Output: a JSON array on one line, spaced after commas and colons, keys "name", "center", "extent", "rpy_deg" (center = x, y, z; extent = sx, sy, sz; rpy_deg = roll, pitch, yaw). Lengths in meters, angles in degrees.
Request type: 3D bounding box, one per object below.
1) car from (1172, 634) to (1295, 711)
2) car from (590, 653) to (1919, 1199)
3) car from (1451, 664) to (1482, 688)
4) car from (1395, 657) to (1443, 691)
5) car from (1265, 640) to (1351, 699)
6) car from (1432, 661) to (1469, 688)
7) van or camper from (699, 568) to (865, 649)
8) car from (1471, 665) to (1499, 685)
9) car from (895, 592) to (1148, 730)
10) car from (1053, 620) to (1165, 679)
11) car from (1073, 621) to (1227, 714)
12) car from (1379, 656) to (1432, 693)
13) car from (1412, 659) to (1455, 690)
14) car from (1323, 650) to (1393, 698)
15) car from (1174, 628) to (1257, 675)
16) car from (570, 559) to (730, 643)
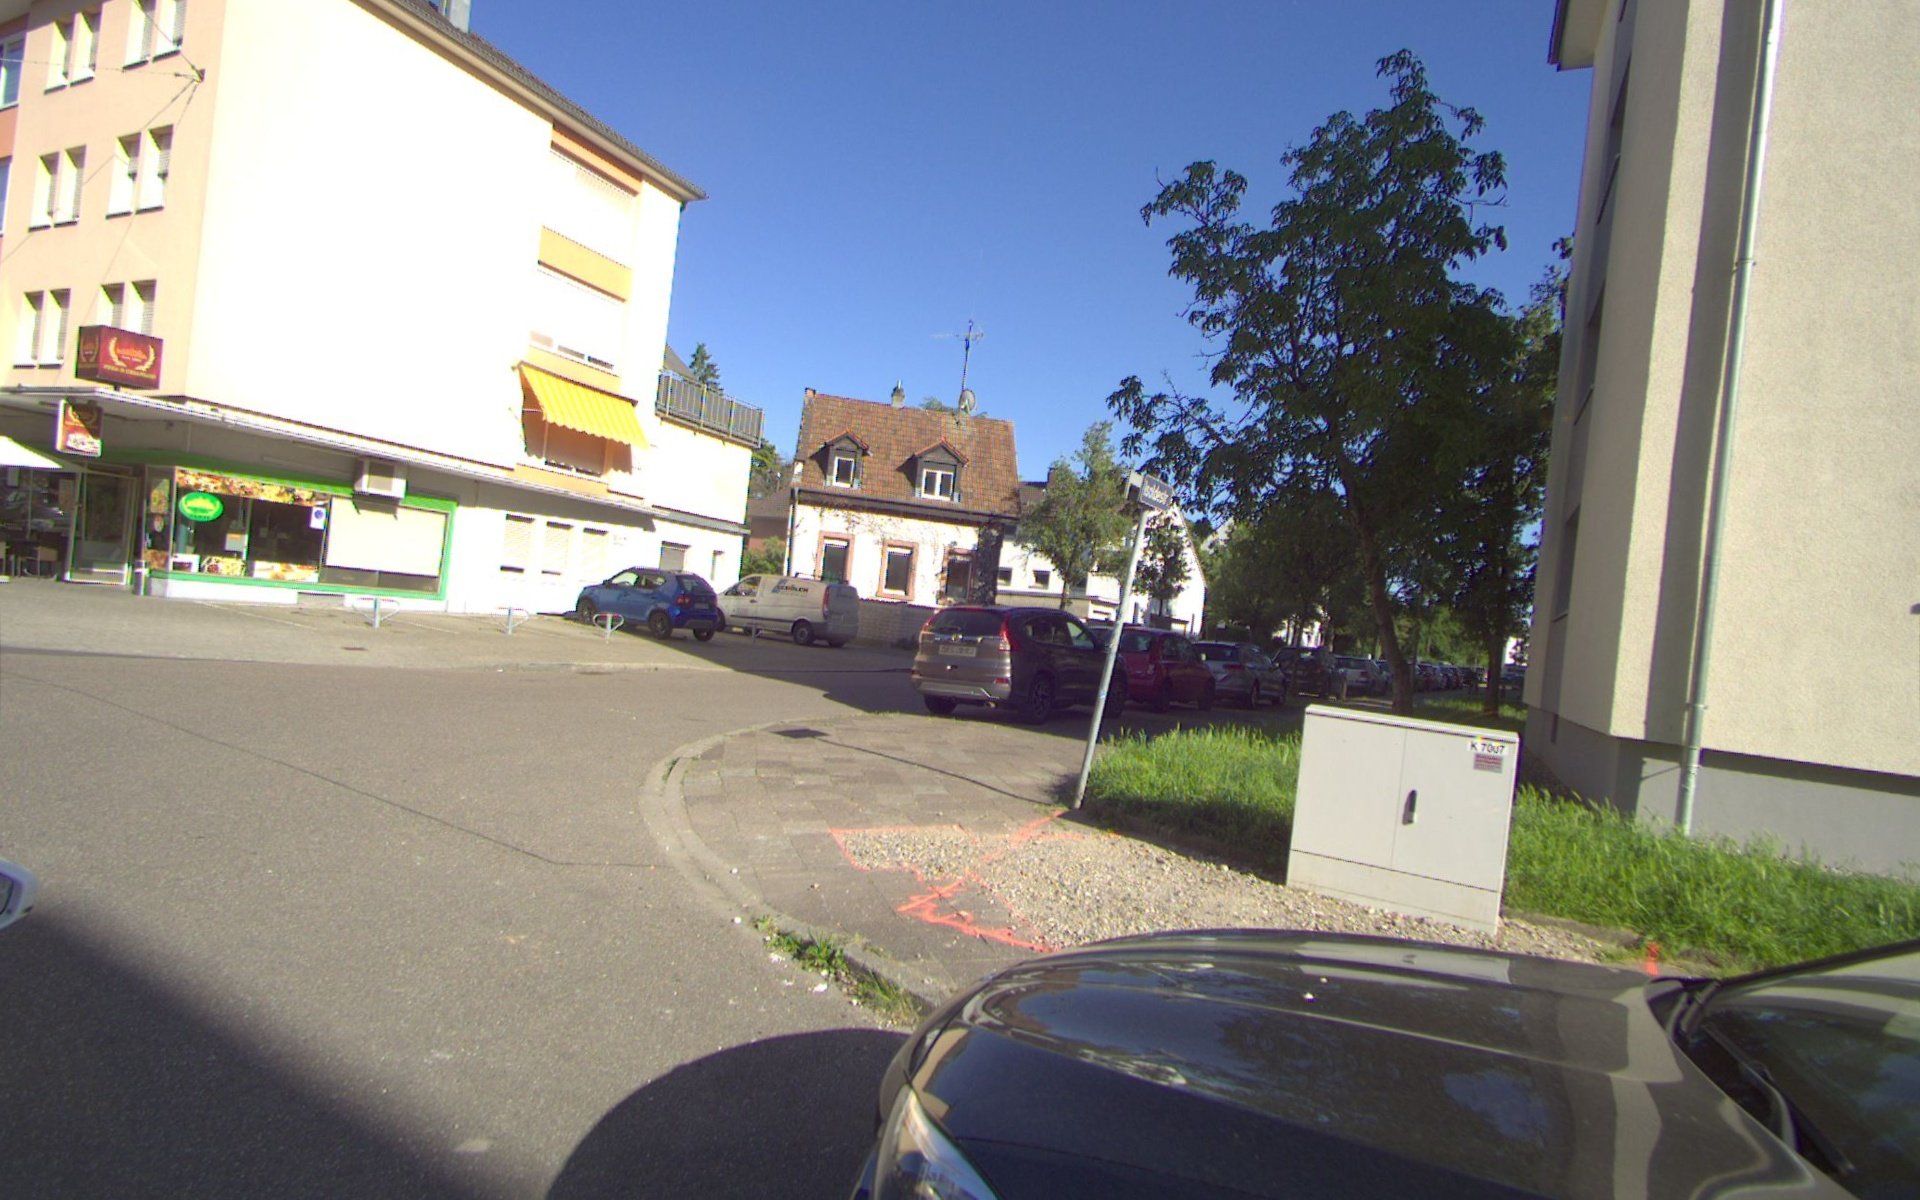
[{"name": "car", "center": [6.440, 1.703, 23.434], "extent": [1.472, 1.514, 3.802], "rpy_deg": [6, -1, 34]}, {"name": "car", "center": [2.004, 1.095, 1.181], "extent": [4.692, 1.541, 1.859], "rpy_deg": [5, -1, 25]}, {"name": "car", "center": [37.736, 5.640, 74.904], "extent": [1.657, 1.515, 3.804], "rpy_deg": [6, 0, 32]}, {"name": "car", "center": [23.978, 3.852, 52.468], "extent": [1.657, 1.515, 3.804], "rpy_deg": [6, 0, 32]}, {"name": "car", "center": [11.126, 2.206, 31.986], "extent": [1.657, 1.571, 3.804], "rpy_deg": [6, 0, 32]}, {"name": "car", "center": [32.407, 4.912, 66.412], "extent": [1.657, 1.515, 3.804], "rpy_deg": [6, 0, 32]}, {"name": "van or camper", "center": [-5.171, 0.244, 29.144], "extent": [4.397, 1.836, 1.776], "rpy_deg": [6, 0, 26]}, {"name": "car", "center": [44.695, 6.404, 85.632], "extent": [1.657, 1.515, 3.804], "rpy_deg": [6, 0, 32]}, {"name": "car", "center": [1.081, 0.924, 15.135], "extent": [1.795, 1.633, 4.245], "rpy_deg": [6, 0, 34]}, {"name": "car", "center": [4.937, 1.653, 32.859], "extent": [1.795, 1.633, 4.244], "rpy_deg": [6, 0, 35]}, {"name": "car", "center": [3.742, 1.313, 19.362], "extent": [1.472, 1.490, 3.602], "rpy_deg": [6, -1, 35]}, {"name": "car", "center": [21.121, 3.533, 47.622], "extent": [1.657, 1.515, 3.804], "rpy_deg": [6, 0, 32]}, {"name": "car", "center": [27.074, 4.241, 57.478], "extent": [1.657, 1.515, 3.804], "rpy_deg": [6, 0, 32]}, {"name": "car", "center": [14.934, 2.783, 37.669], "extent": [1.657, 1.515, 3.804], "rpy_deg": [6, 0, 32]}, {"name": "car", "center": [10.512, 2.134, 41.173], "extent": [1.795, 1.633, 4.244], "rpy_deg": [6, 0, 35]}, {"name": "car", "center": [-7.479, 0.022, 24.252], "extent": [3.414, 1.633, 1.582], "rpy_deg": [6, 0, 26]}]
